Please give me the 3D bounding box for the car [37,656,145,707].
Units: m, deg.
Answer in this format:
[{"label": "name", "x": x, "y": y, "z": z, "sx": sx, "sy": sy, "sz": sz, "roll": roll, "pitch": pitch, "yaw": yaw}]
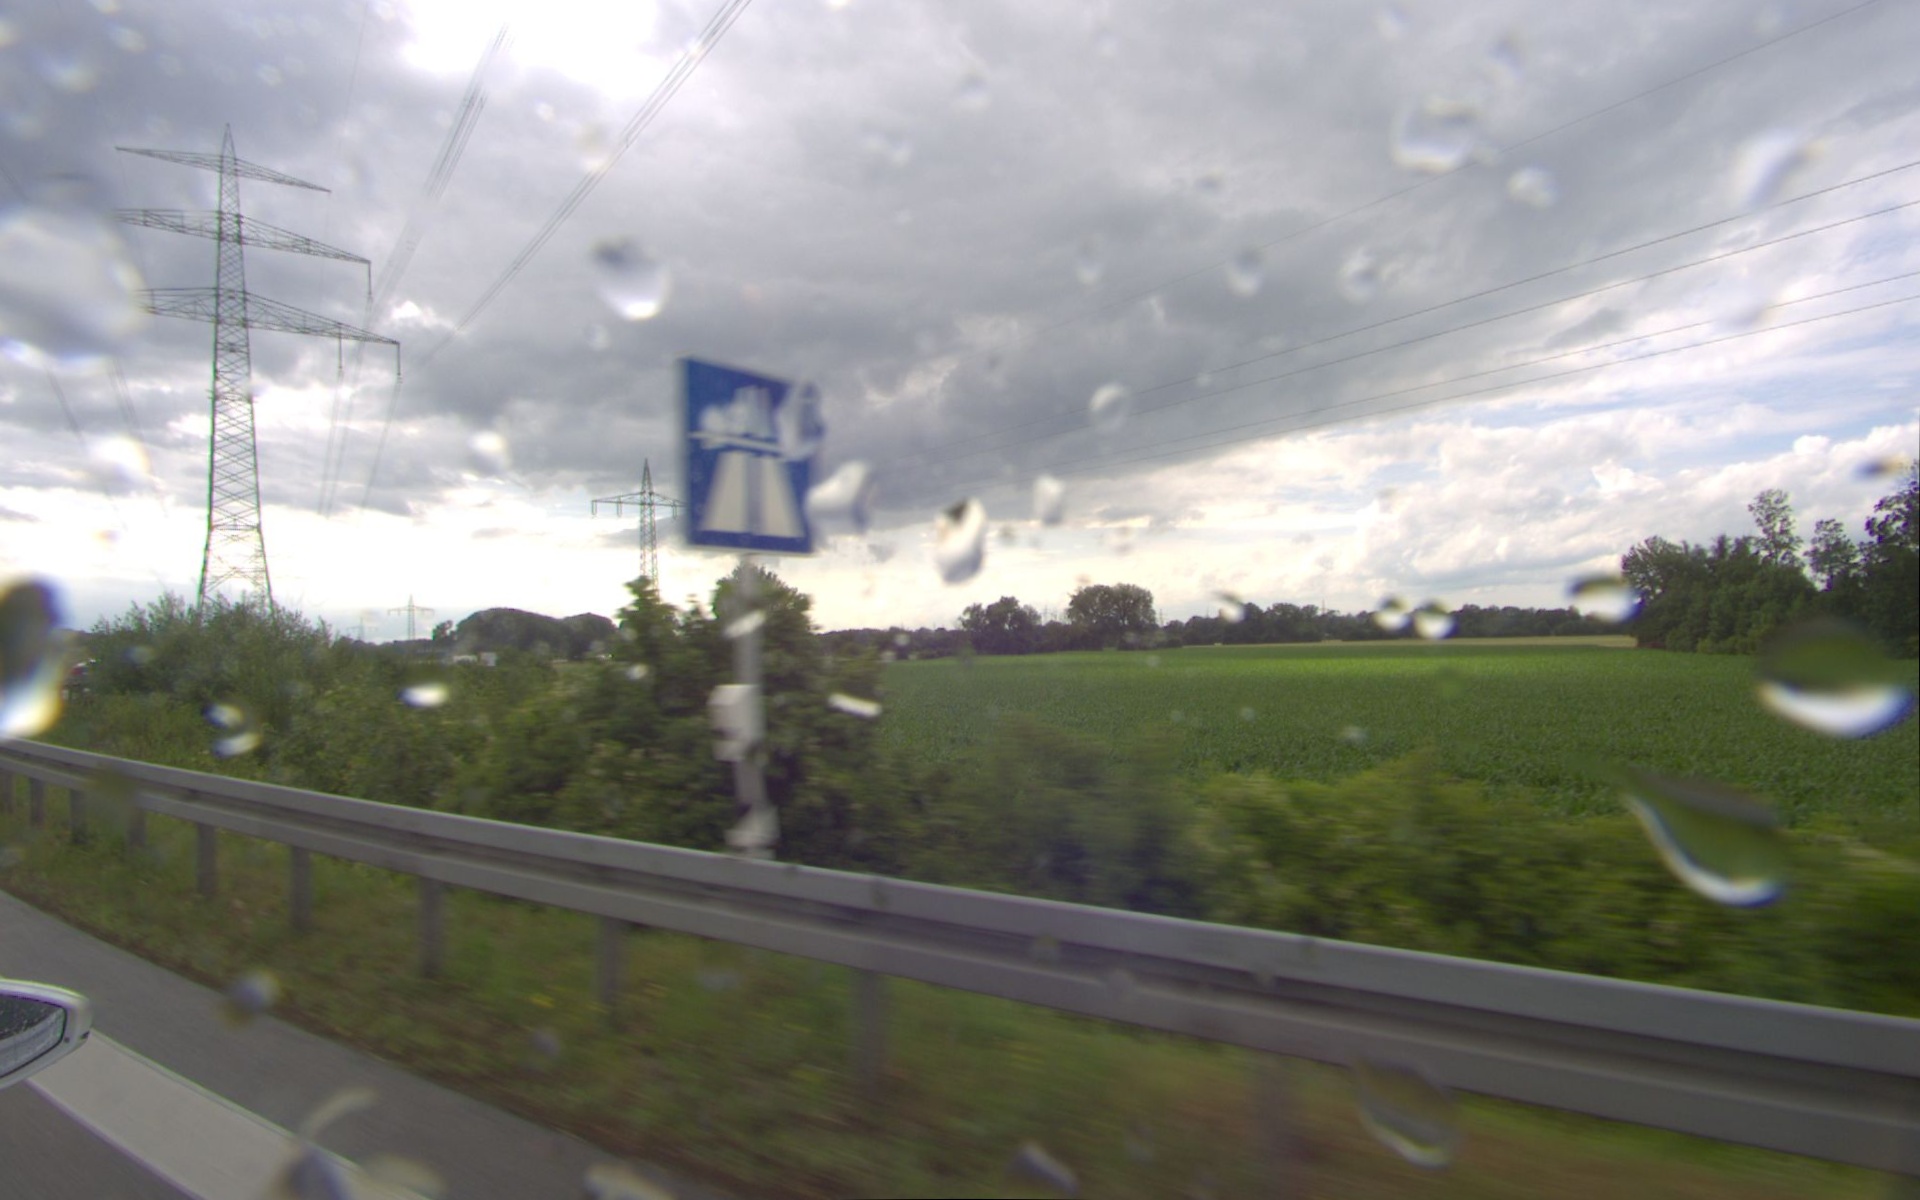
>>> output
[{"label": "car", "x": -38.065, "y": 3.526, "z": 44.044, "sx": 2.094, "sy": 2.043, "sz": 5.519, "roll": -1, "pitch": -3, "yaw": -24}]
